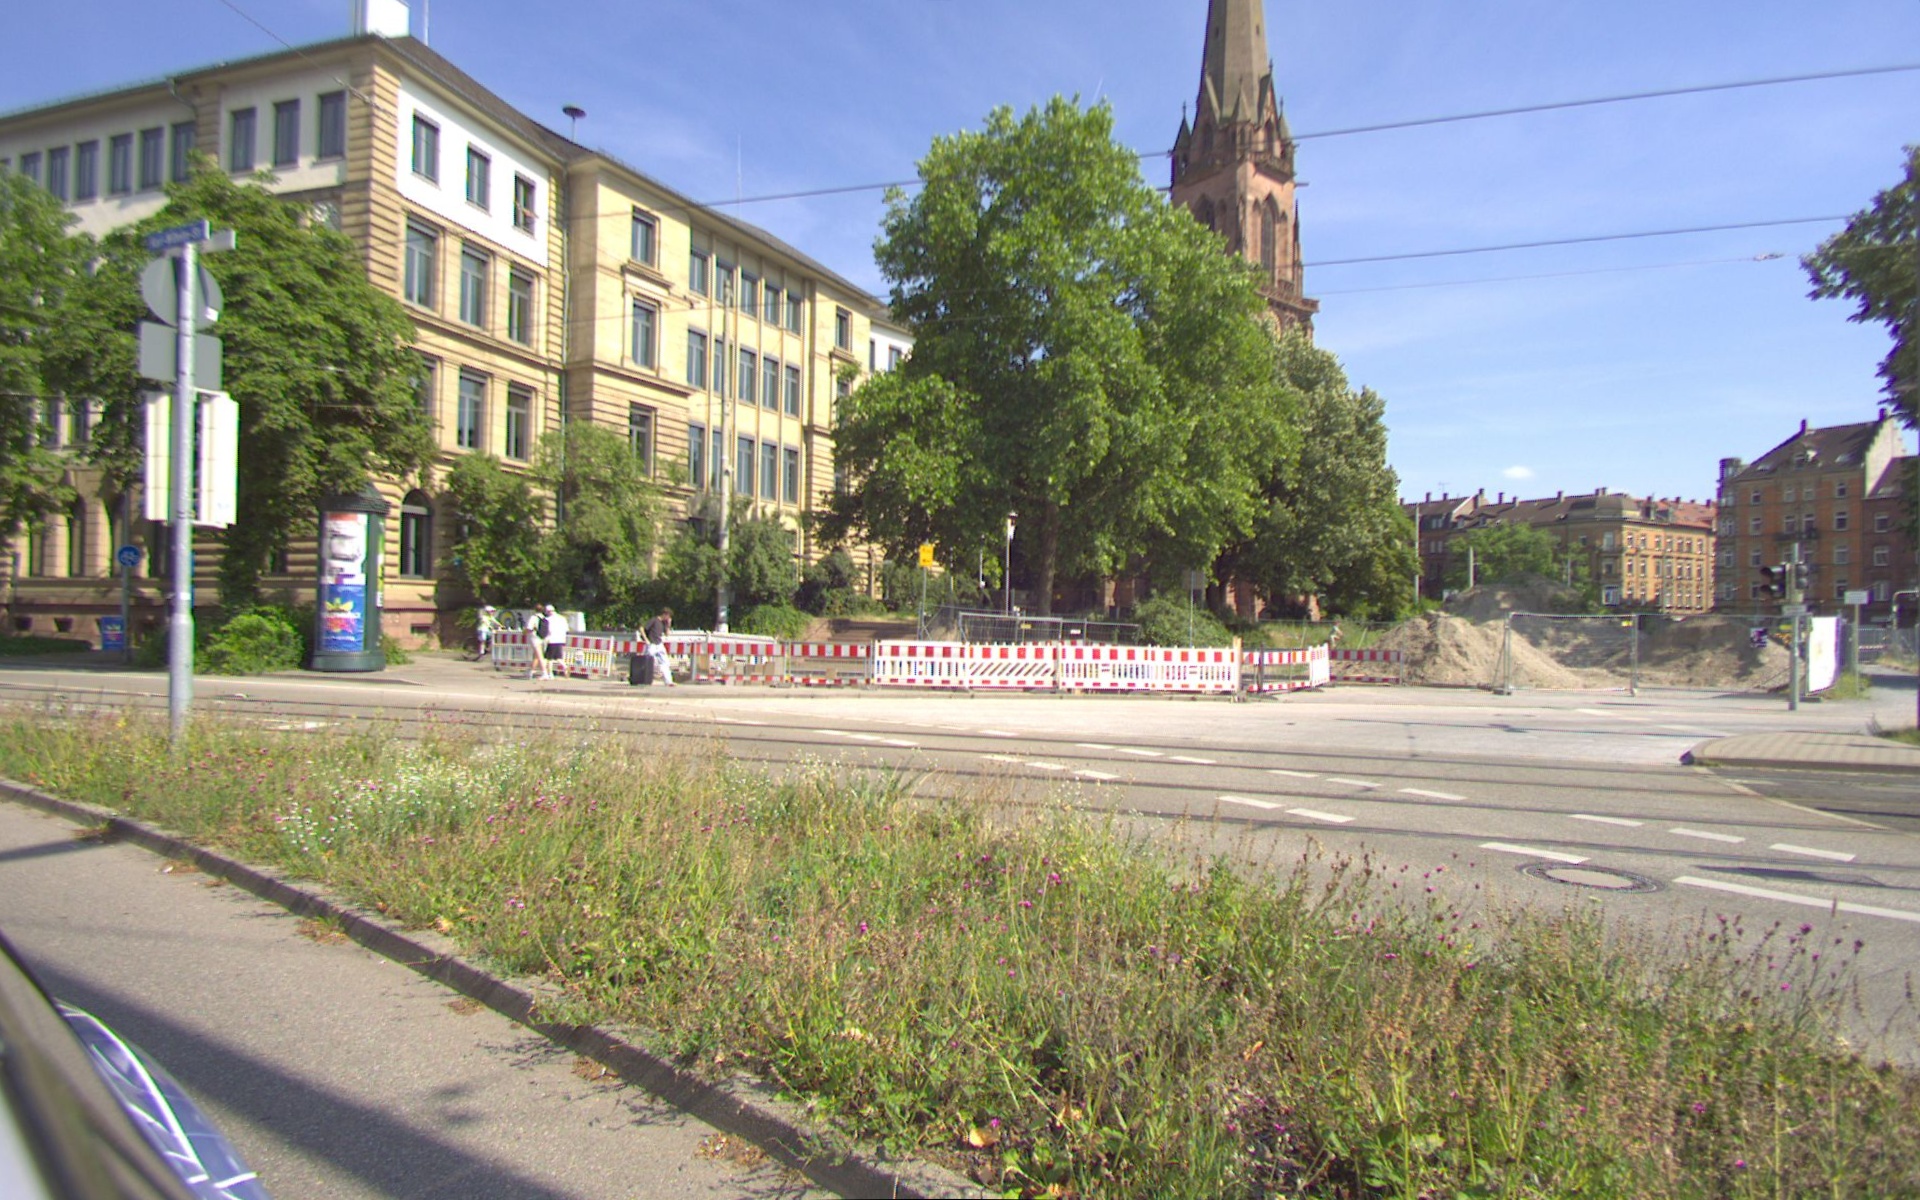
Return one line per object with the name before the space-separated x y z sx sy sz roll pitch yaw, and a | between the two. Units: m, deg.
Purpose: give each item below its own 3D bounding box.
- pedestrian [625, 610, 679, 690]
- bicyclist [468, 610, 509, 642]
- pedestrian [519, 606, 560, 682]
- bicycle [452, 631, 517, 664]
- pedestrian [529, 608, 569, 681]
pedestrian | -6.639 1.060 21.790 0.924 1.668 0.847 2 -2 -29
bicyclist | -13.995 0.782 30.062 0.861 0.934 0.680 0 -2 13
pedestrian | -9.986 1.037 24.053 0.734 1.763 0.585 1 -2 -4
bicycle | -14.128 1.405 30.091 1.649 0.954 0.698 0 -2 13
pedestrian | -10.057 1.091 24.771 0.733 1.763 0.585 1 -2 -5
